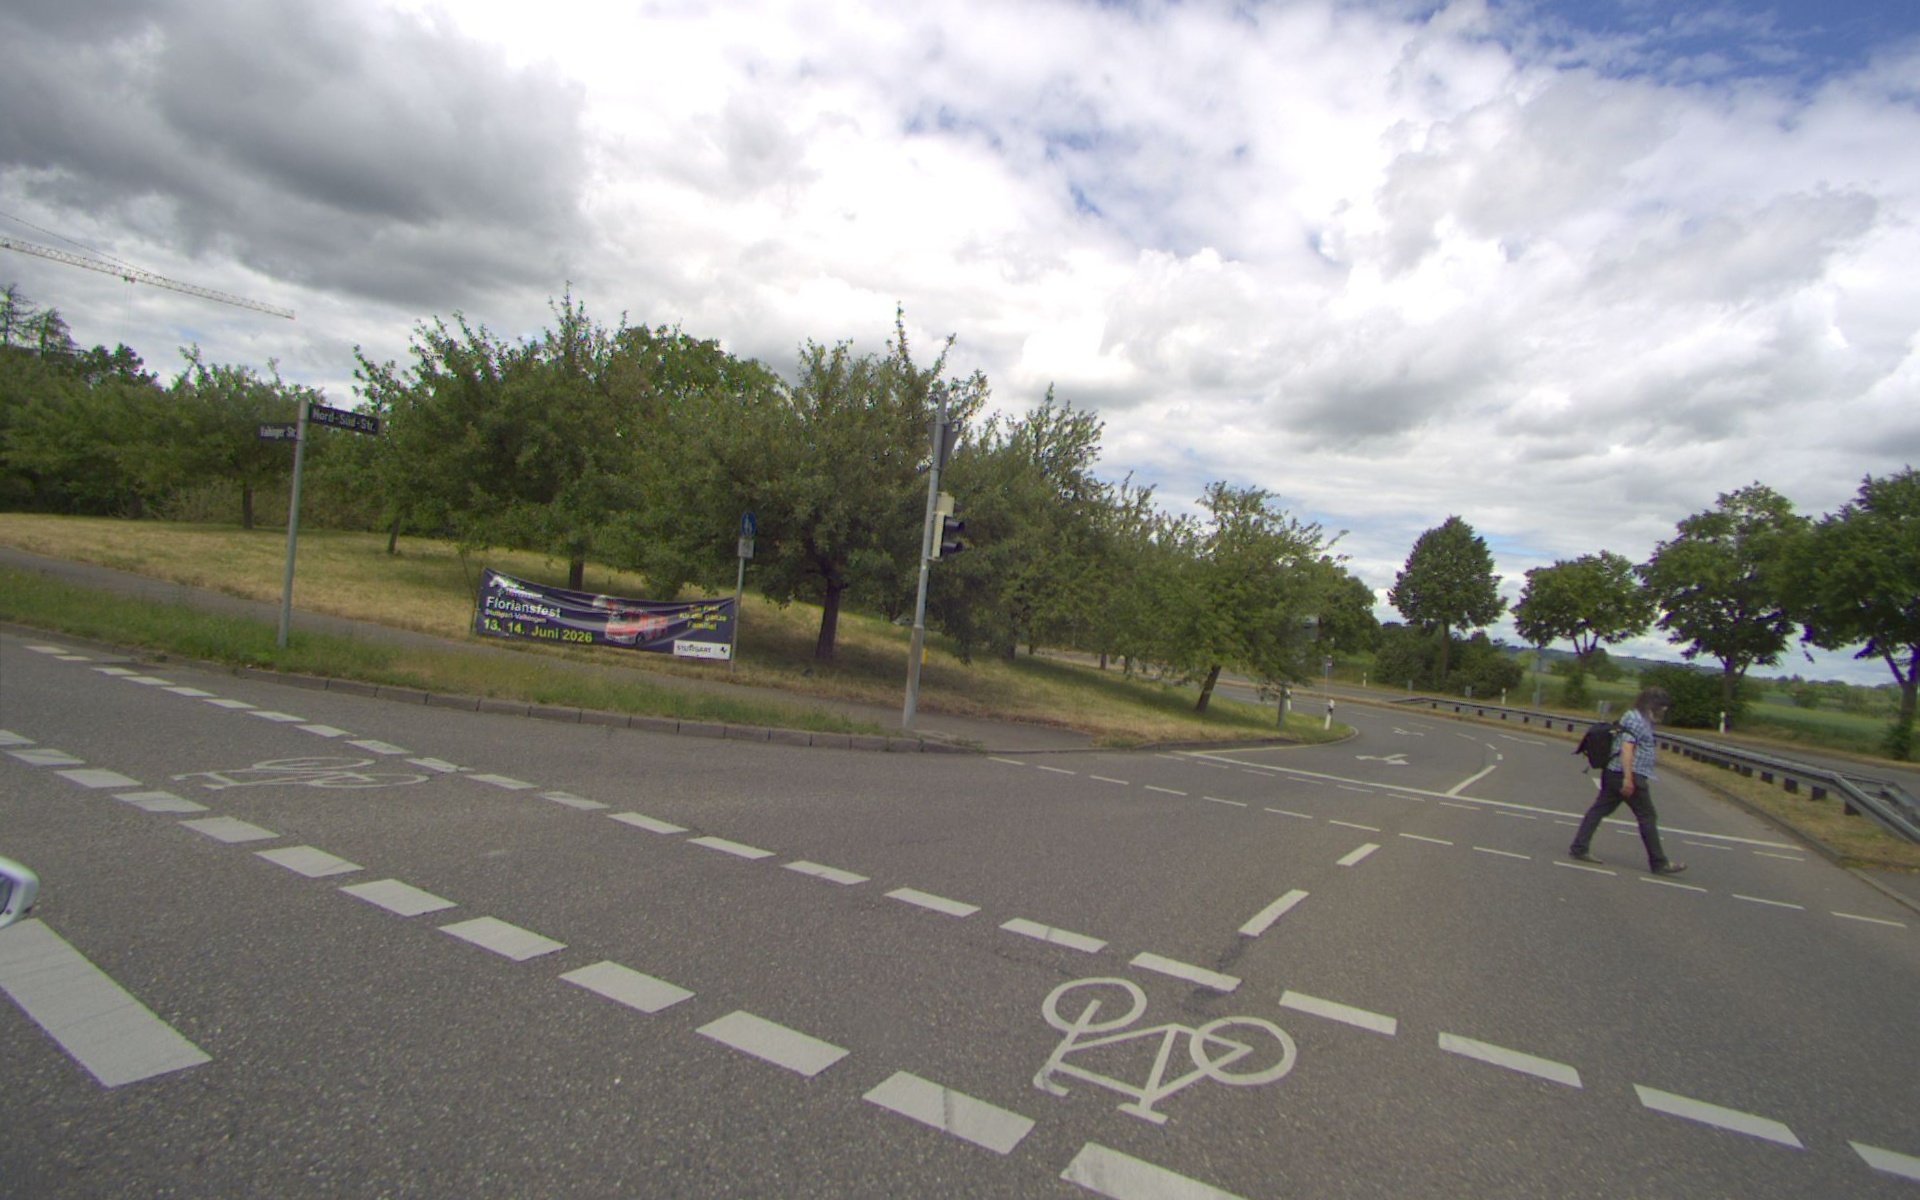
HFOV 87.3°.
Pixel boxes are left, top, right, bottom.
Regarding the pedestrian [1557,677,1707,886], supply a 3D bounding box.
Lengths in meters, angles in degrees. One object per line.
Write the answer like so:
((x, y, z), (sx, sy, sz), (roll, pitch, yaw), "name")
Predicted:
((6.564, 1.728, 9.884), (1.026, 1.814, 0.719), (6, -1, 31), "pedestrian")
